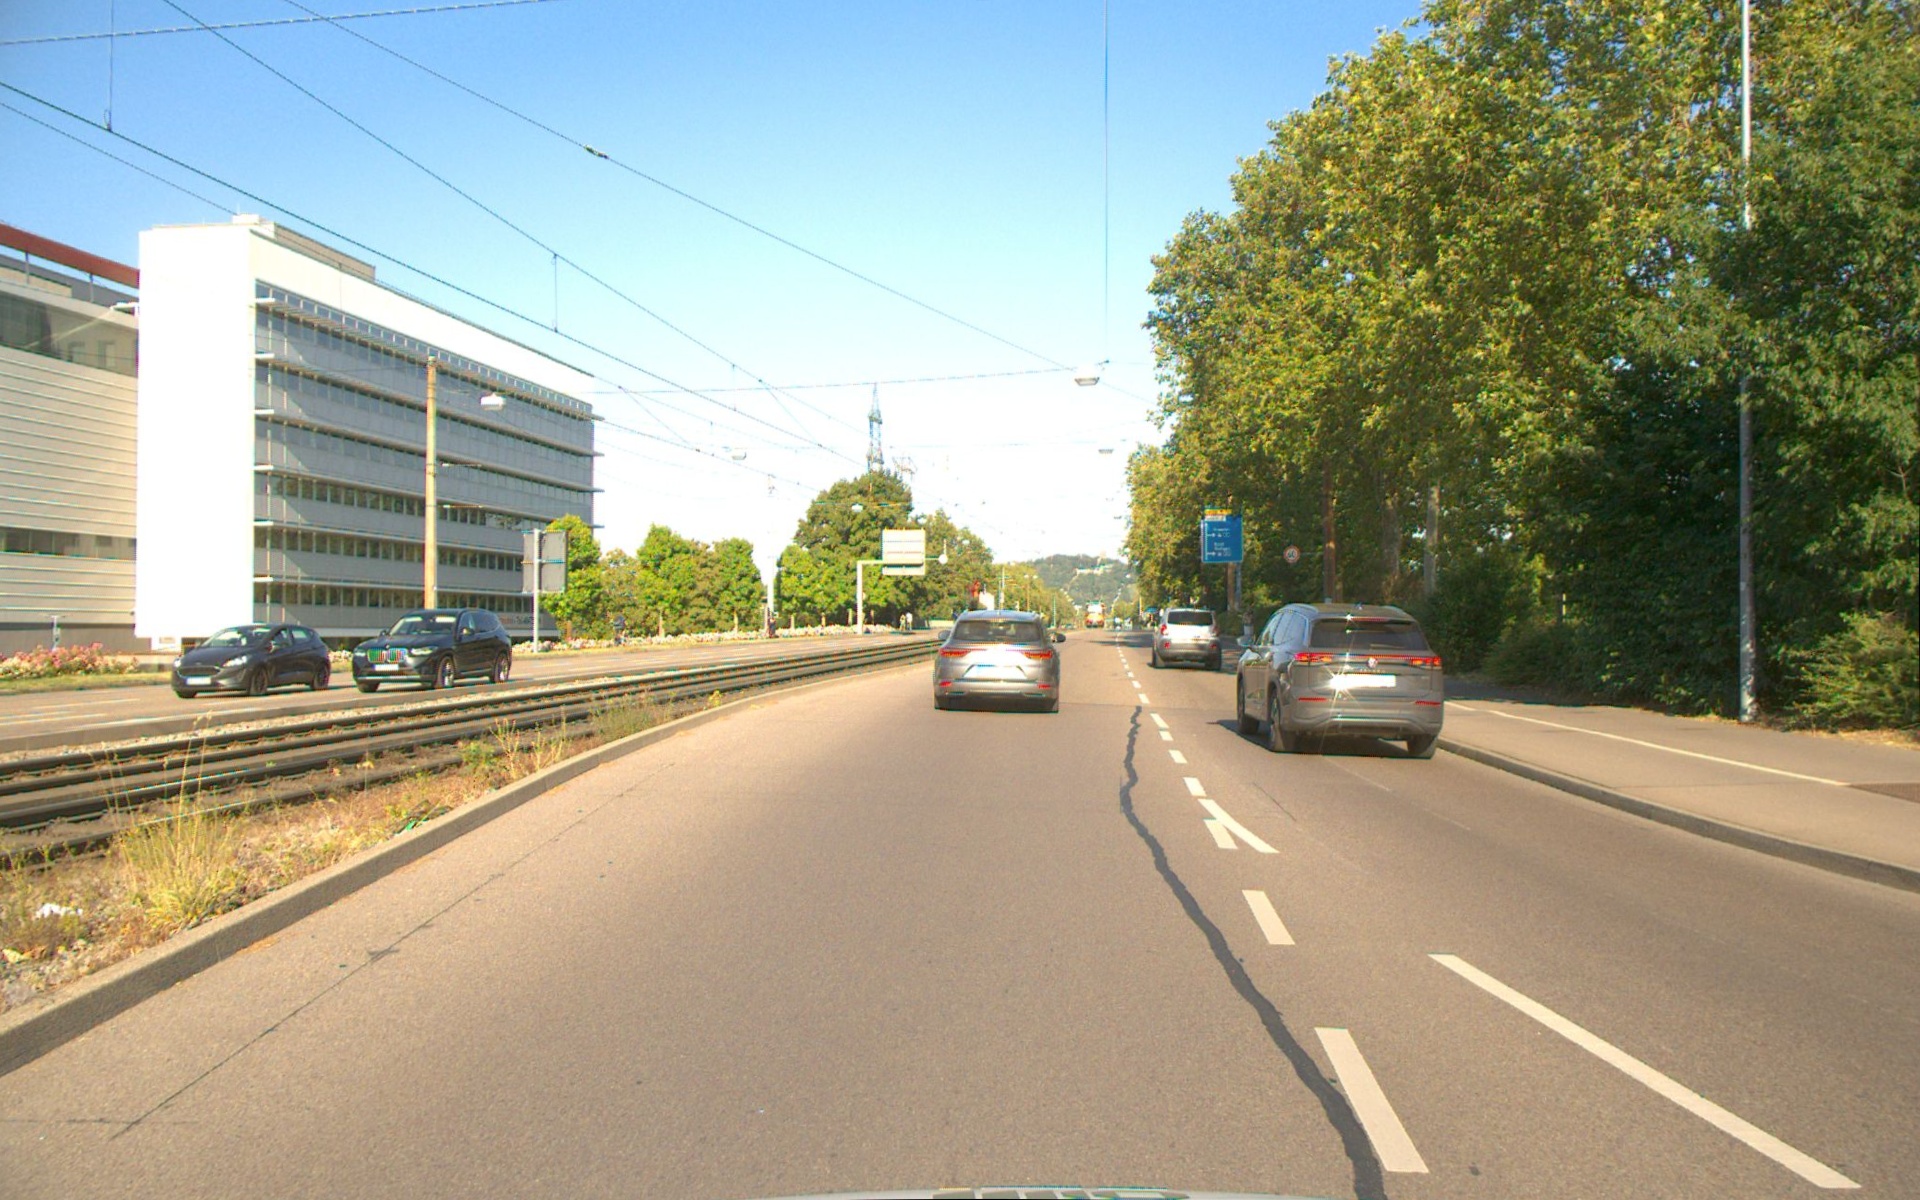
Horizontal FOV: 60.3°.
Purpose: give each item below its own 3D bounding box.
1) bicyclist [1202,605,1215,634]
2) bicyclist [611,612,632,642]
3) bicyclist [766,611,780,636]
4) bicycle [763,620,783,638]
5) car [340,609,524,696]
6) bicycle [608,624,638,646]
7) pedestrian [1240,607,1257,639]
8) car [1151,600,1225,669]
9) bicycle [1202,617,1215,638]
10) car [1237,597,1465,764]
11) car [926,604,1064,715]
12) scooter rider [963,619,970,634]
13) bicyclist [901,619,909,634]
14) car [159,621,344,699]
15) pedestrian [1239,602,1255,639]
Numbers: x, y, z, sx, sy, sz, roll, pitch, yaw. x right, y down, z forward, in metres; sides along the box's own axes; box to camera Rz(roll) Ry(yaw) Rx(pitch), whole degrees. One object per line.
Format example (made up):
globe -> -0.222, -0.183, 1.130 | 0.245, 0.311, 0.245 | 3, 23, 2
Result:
bicyclist -> 13.591, 1.068, 90.403 | 0.671, 1.535, 0.891 | 0, -1, 6
bicyclist -> -17.379, 1.391, 84.968 | 0.690, 1.539, 0.971 | 2, 0, 13
bicyclist -> -12.703, 1.580, 112.505 | 0.647, 1.652, 0.801 | 2, -1, 15
bicycle -> -12.707, 1.992, 112.541 | 0.647, 1.171, 2.023 | 2, 0, 15
car -> -11.070, 1.058, 35.056 | 1.951, 1.684, 4.662 | -1, -1, 7
bicycle -> -17.356, 1.808, 85.136 | 0.690, 1.092, 2.029 | 2, 0, 13
pedestrian -> 13.685, 1.082, 78.562 | 0.708, 1.506, 0.722 | -1, -1, 5
car -> 6.444, 0.952, 46.989 | 1.843, 1.827, 4.002 | 2, 0, 5
bicycle -> 13.568, 1.497, 90.449 | 0.609, 1.140, 1.814 | -1, -1, 6
car -> 4.427, 0.845, 19.378 | 1.806, 1.690, 4.441 | 1, 0, 3
car -> 0.631, 0.841, 25.273 | 1.826, 1.493, 4.668 | 2, 0, 4
scooter rider -> 0.849, 3.405, 212.518 | 0.667, 1.881, 1.001 | -1, -1, 13
bicyclist -> -5.274, 2.527, 159.492 | 0.611, 1.398, 0.880 | 2, 0, 6
car -> -14.559, 1.199, 34.249 | 1.817, 1.486, 4.140 | 0, 0, 4
pedestrian -> 13.841, 0.980, 79.772 | 0.707, 1.738, 0.813 | -1, -1, 5
